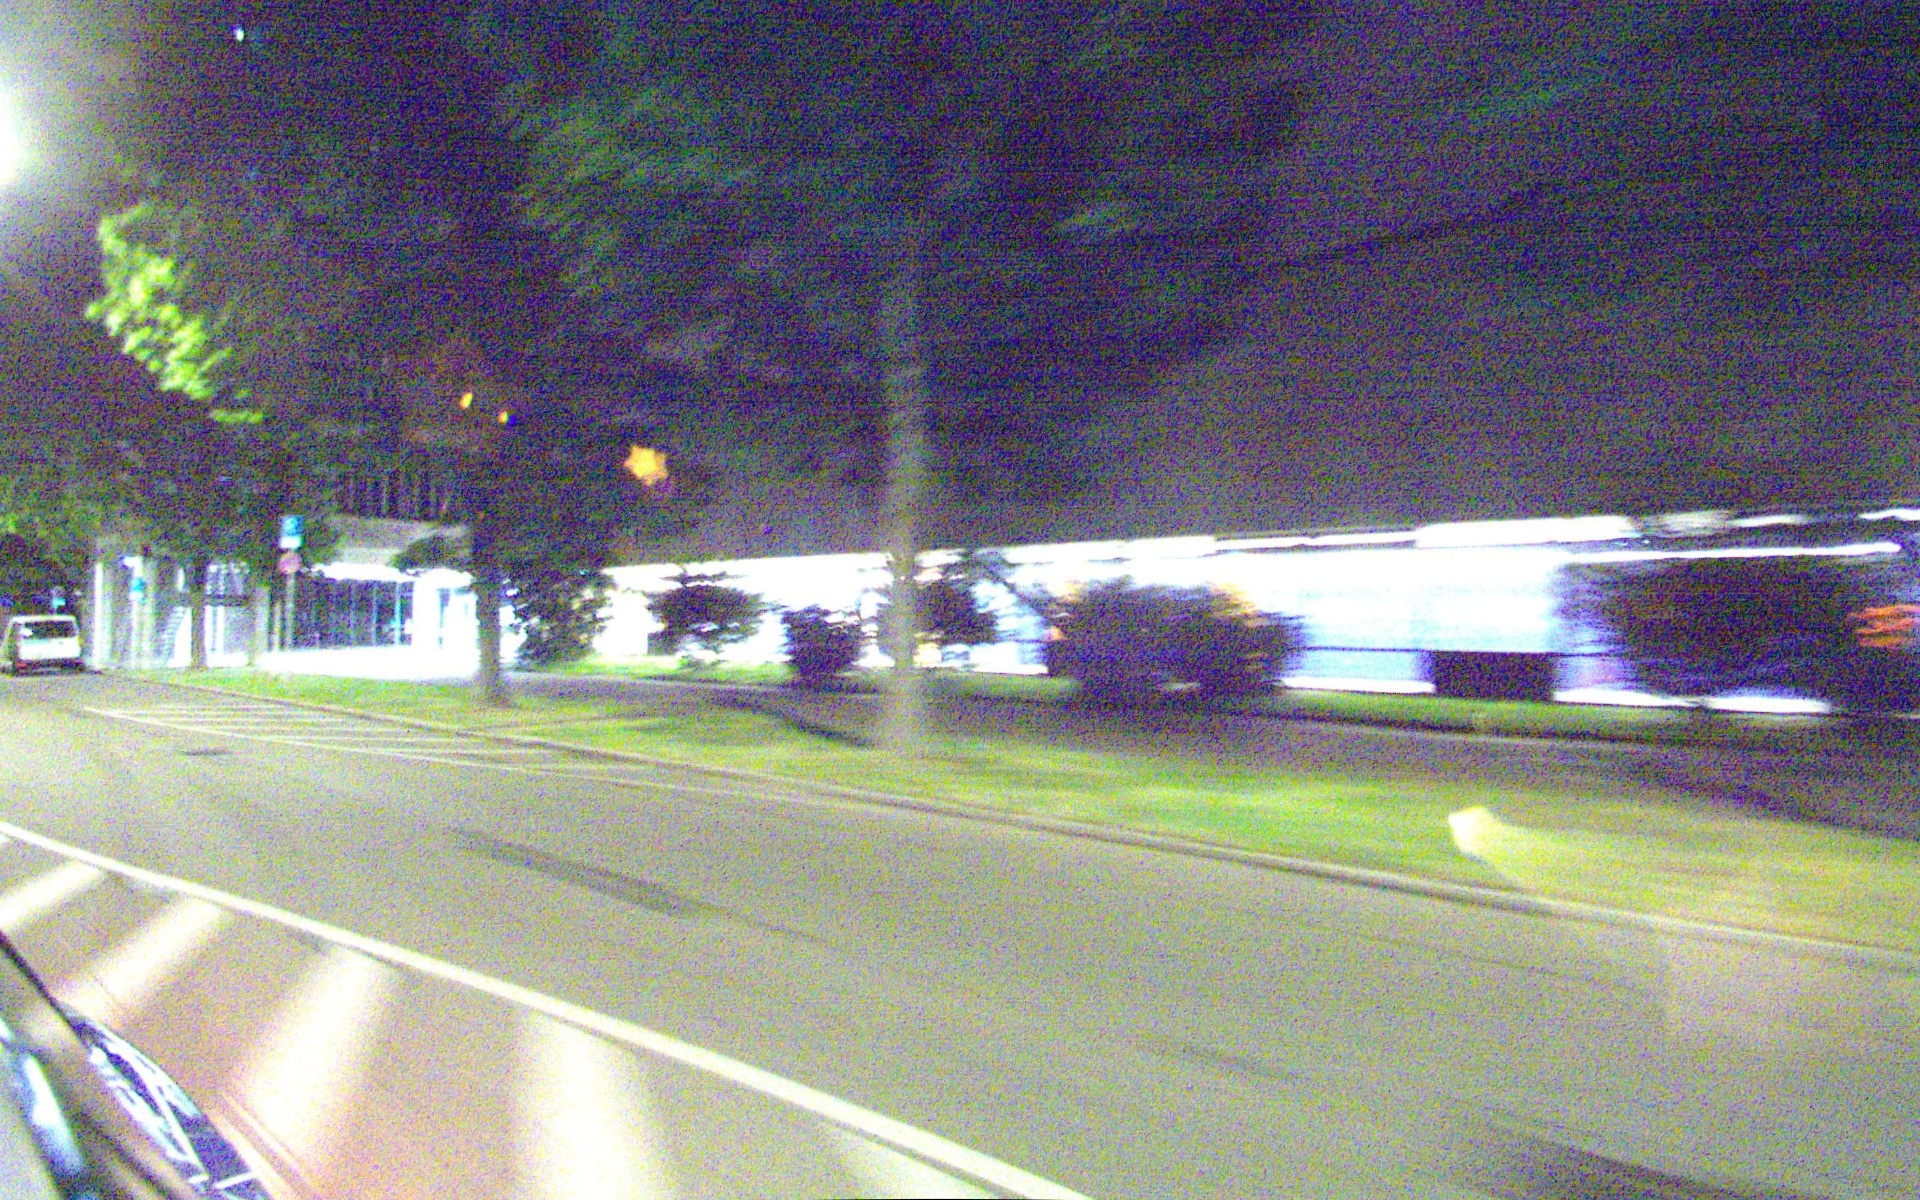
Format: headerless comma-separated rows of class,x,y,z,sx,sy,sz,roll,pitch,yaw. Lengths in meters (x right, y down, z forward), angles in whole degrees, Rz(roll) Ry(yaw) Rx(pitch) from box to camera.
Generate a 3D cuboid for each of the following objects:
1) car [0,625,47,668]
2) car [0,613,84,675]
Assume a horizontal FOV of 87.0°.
car,-33.835,1.625,35.905,3.731,1.443,1.802,-1,0,43
car,-29.341,1.356,32.163,3.731,1.822,1.858,-1,0,43
